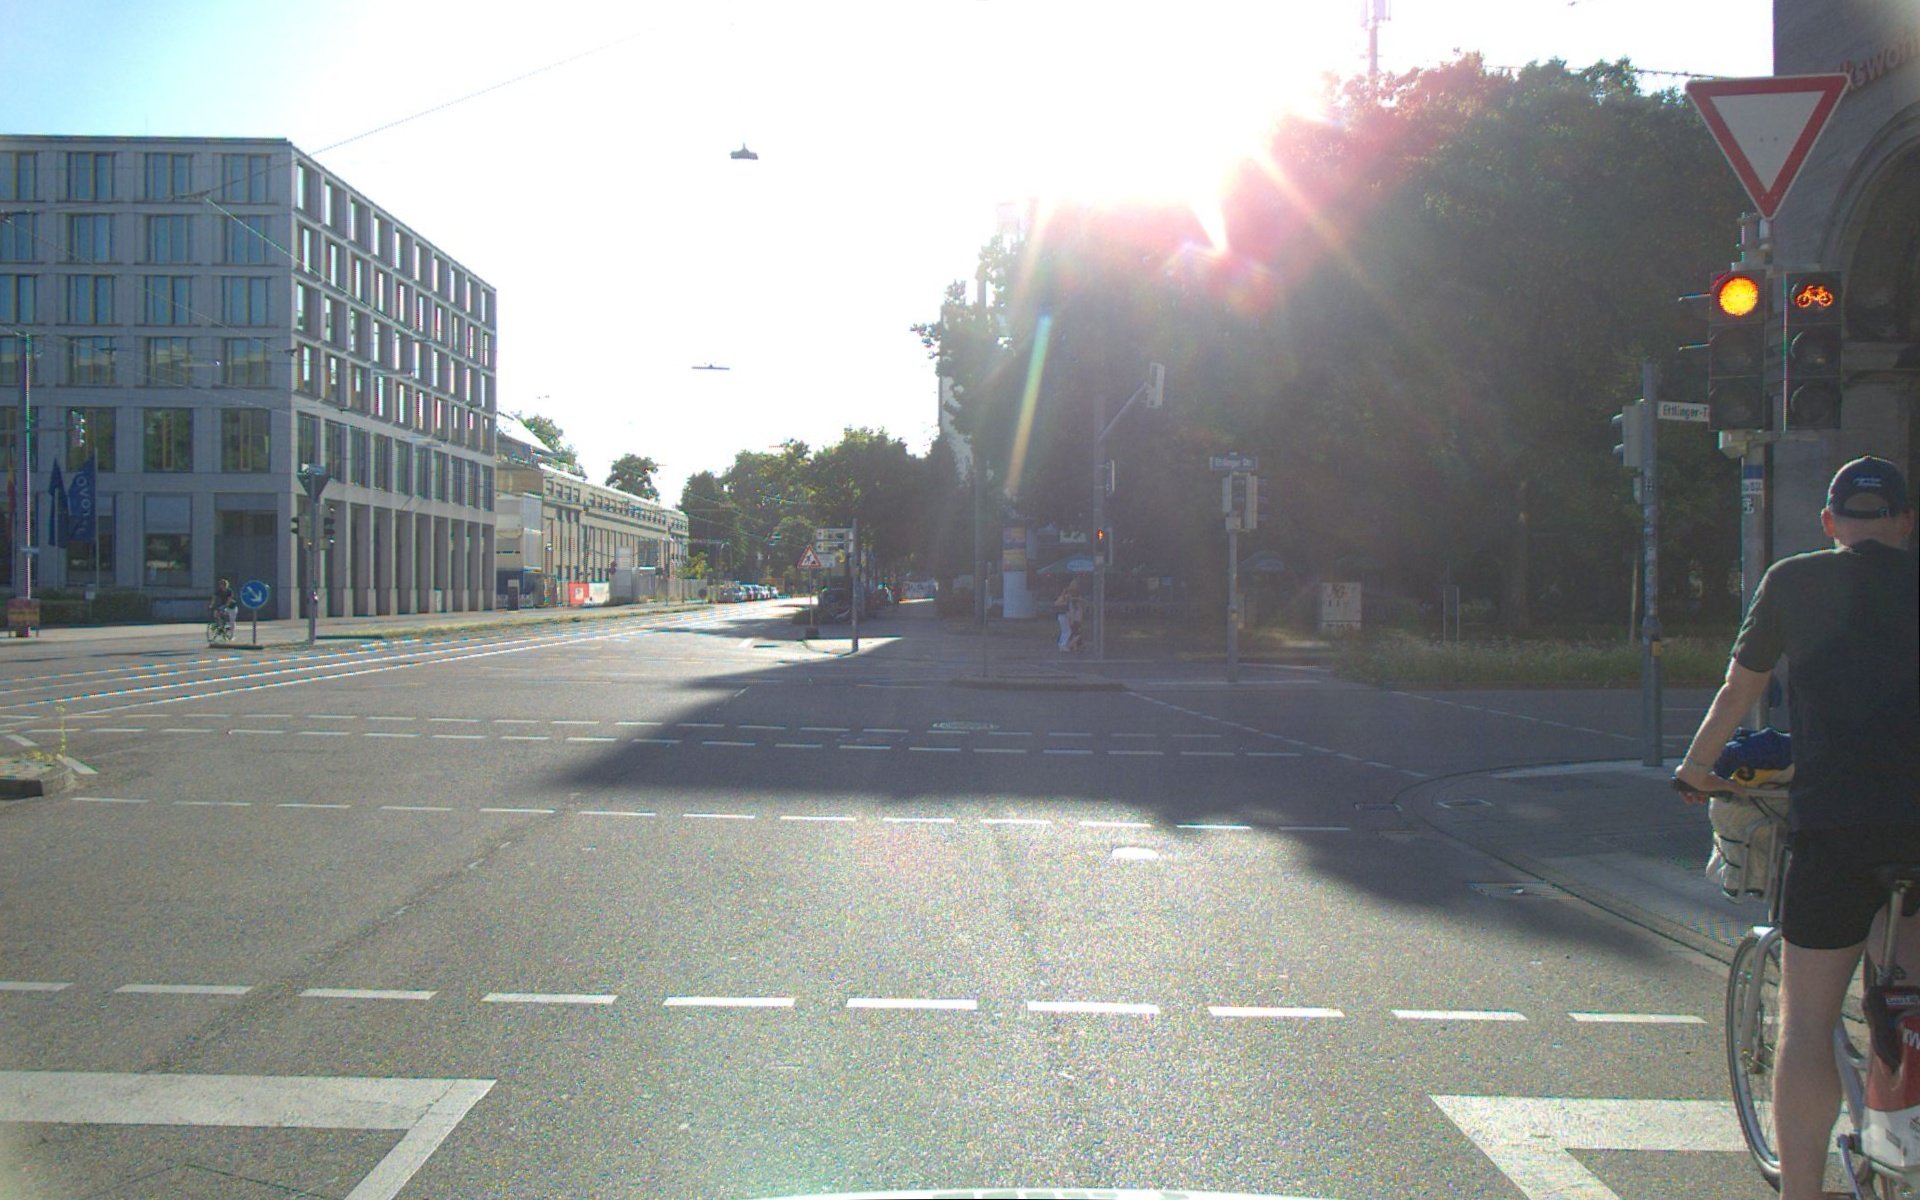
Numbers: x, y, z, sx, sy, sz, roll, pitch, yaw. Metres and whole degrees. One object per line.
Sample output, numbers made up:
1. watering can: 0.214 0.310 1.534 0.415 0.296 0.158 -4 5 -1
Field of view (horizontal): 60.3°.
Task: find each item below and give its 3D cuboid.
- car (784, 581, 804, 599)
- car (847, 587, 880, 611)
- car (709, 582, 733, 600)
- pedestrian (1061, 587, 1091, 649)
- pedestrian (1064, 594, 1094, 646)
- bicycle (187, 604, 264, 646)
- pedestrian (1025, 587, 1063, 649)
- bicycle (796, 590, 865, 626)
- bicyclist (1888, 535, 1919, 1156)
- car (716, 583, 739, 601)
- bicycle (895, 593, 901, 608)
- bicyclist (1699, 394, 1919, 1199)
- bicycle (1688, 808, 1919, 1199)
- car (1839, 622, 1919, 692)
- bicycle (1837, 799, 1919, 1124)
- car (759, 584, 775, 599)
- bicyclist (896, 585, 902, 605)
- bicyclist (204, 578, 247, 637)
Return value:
1. car: -20.239 -1.196 201.824 1.953 2.049 3.999 1 0 -1
2. car: -5.342 -0.069 92.225 1.783 1.301 3.998 0 0 -3
3. car: -22.432 -0.862 155.273 1.695 1.682 3.999 0 0 -1
4. pedestrian: 3.116 0.479 44.444 0.779 1.668 0.533 0 0 2
5. pedestrian: 3.134 0.535 43.689 0.737 1.356 0.742 0 0 0
6. bicycle: -21.058 0.701 47.483 0.857 1.140 3.013 0 0 0
7. pedestrian: 2.216 0.478 43.791 0.964 1.615 0.660 0 -1 1
8. bicycle: -5.235 0.326 67.062 2.688 1.391 0.631 1 -1 10
9. bicyclist: 2.886 0.677 4.269 0.511 1.709 0.859 0 0 2
10. car: -22.448 -0.788 159.658 1.695 1.682 3.999 0 0 -1
11. bicycle: -3.700 0.038 98.483 0.317 0.883 1.483 0 0 -1
12. bicyclist: 2.119 0.427 3.722 0.655 1.707 0.657 0 0 6
13. bicycle: 2.233 1.084 3.940 0.381 0.921 1.952 0 0 8
14. car: 20.591 1.136 33.765 4.350 1.352 1.777 0 0 2
15. bicycle: 3.005 1.091 4.350 0.418 0.891 1.951 0 0 2
16. car: -22.673 -0.998 194.311 1.453 1.780 3.999 0 0 -1
17. bicyclist: -3.621 -0.299 98.363 0.311 1.147 0.291 0 0 4
18. bicyclist: -21.059 0.219 47.433 0.857 1.670 0.822 0 0 0
